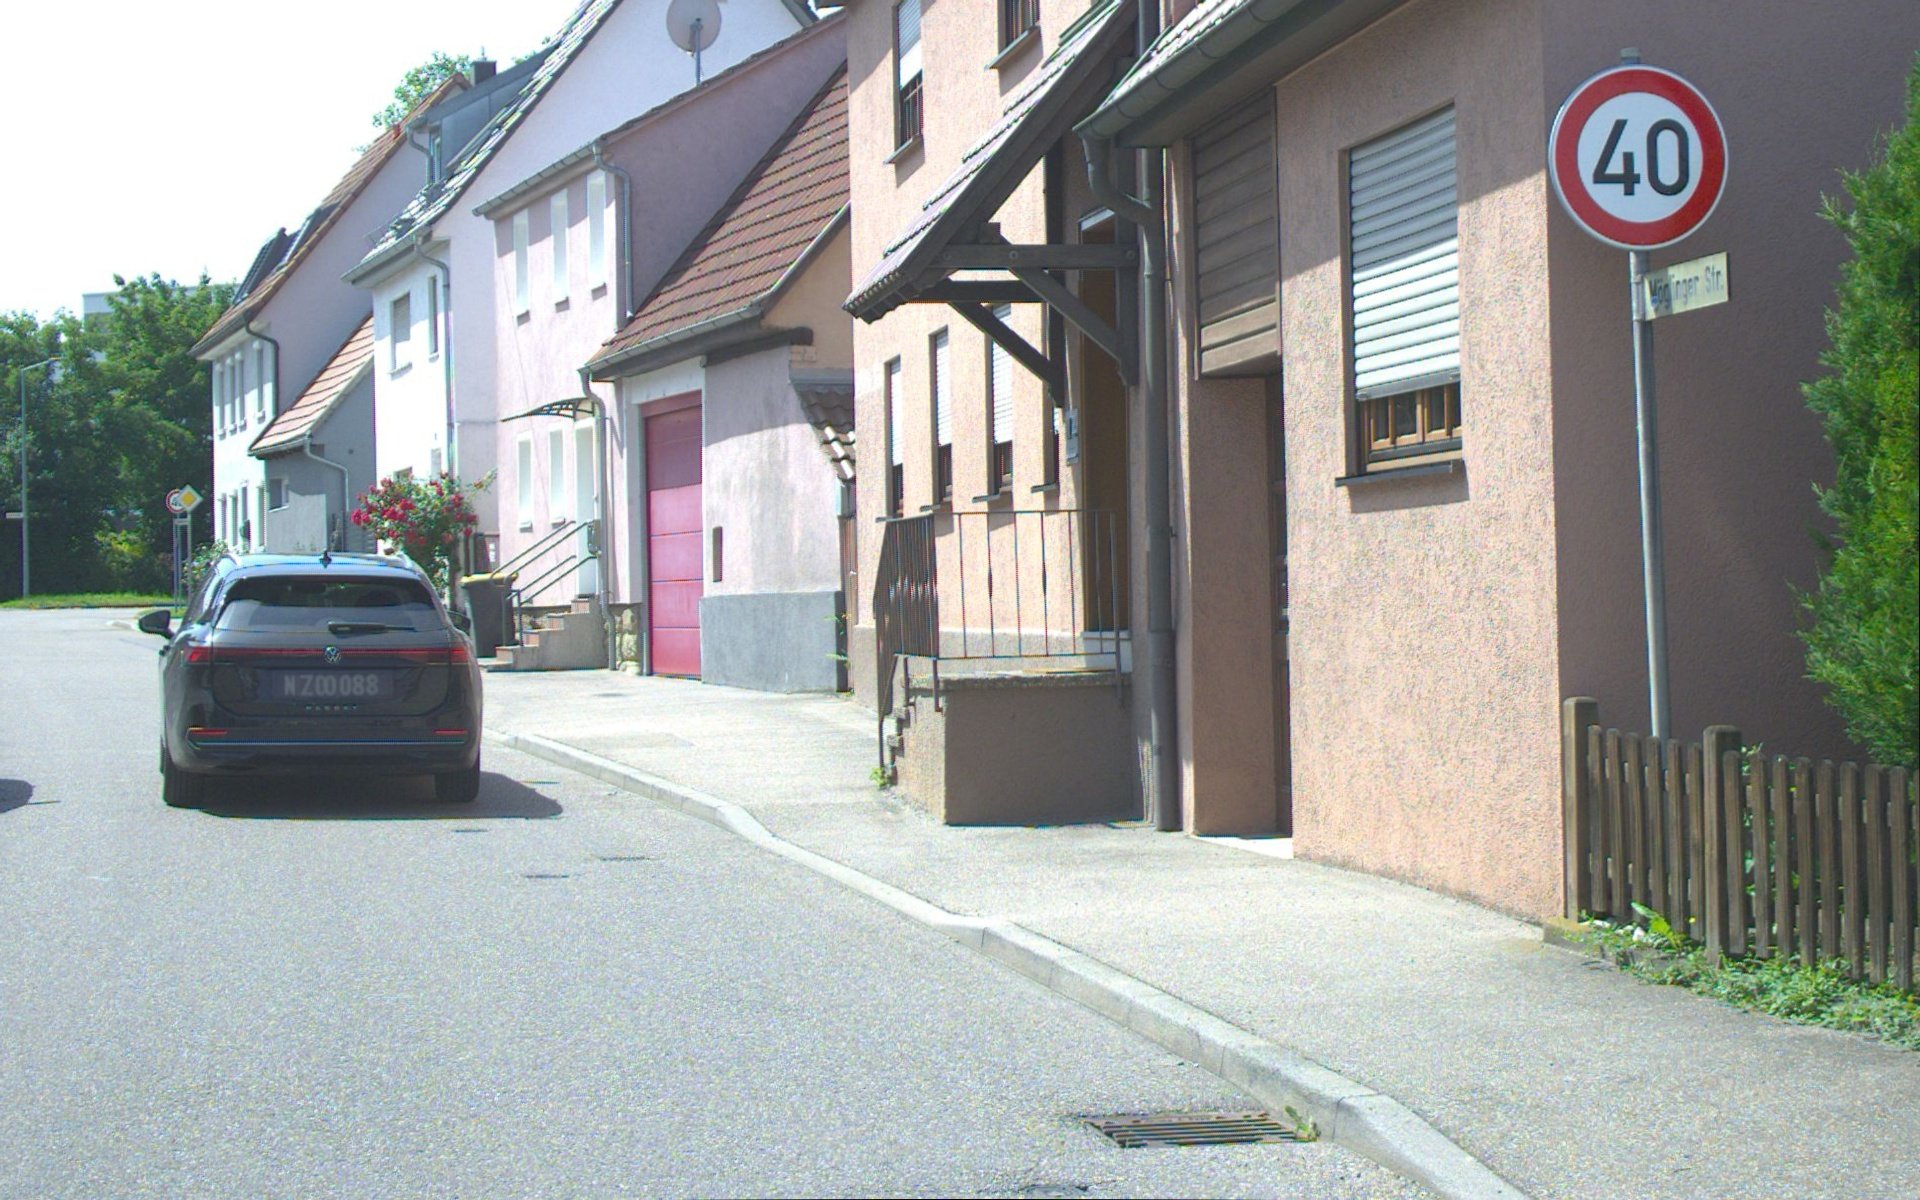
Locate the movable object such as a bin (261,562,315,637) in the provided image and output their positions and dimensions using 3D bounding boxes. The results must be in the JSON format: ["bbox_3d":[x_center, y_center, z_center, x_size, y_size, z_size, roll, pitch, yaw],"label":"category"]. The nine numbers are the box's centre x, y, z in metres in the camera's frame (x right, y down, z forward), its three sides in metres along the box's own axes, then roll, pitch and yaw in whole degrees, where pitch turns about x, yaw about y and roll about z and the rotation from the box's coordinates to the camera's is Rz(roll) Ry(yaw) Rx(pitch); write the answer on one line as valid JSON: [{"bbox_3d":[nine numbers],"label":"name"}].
[{"bbox_3d":[-10.342,-0.015,52.893,0.678,1.151,0.820,0,1,-22],"label":"movable object such as a bin"}]

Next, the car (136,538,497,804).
[{"bbox_3d":[-4.002,0.368,20.807,1.841,1.415,4.684,0,0,-14],"label":"car"}]

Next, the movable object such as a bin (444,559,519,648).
[{"bbox_3d":[-6.027,0.036,43.302,0.678,1.046,0.835,-5,3,-22],"label":"movable object such as a bin"}]

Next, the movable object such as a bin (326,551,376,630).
[{"bbox_3d":[-9.337,-0.152,52.716,0.664,1.190,0.660,-1,1,-18],"label":"movable object such as a bin"}]
